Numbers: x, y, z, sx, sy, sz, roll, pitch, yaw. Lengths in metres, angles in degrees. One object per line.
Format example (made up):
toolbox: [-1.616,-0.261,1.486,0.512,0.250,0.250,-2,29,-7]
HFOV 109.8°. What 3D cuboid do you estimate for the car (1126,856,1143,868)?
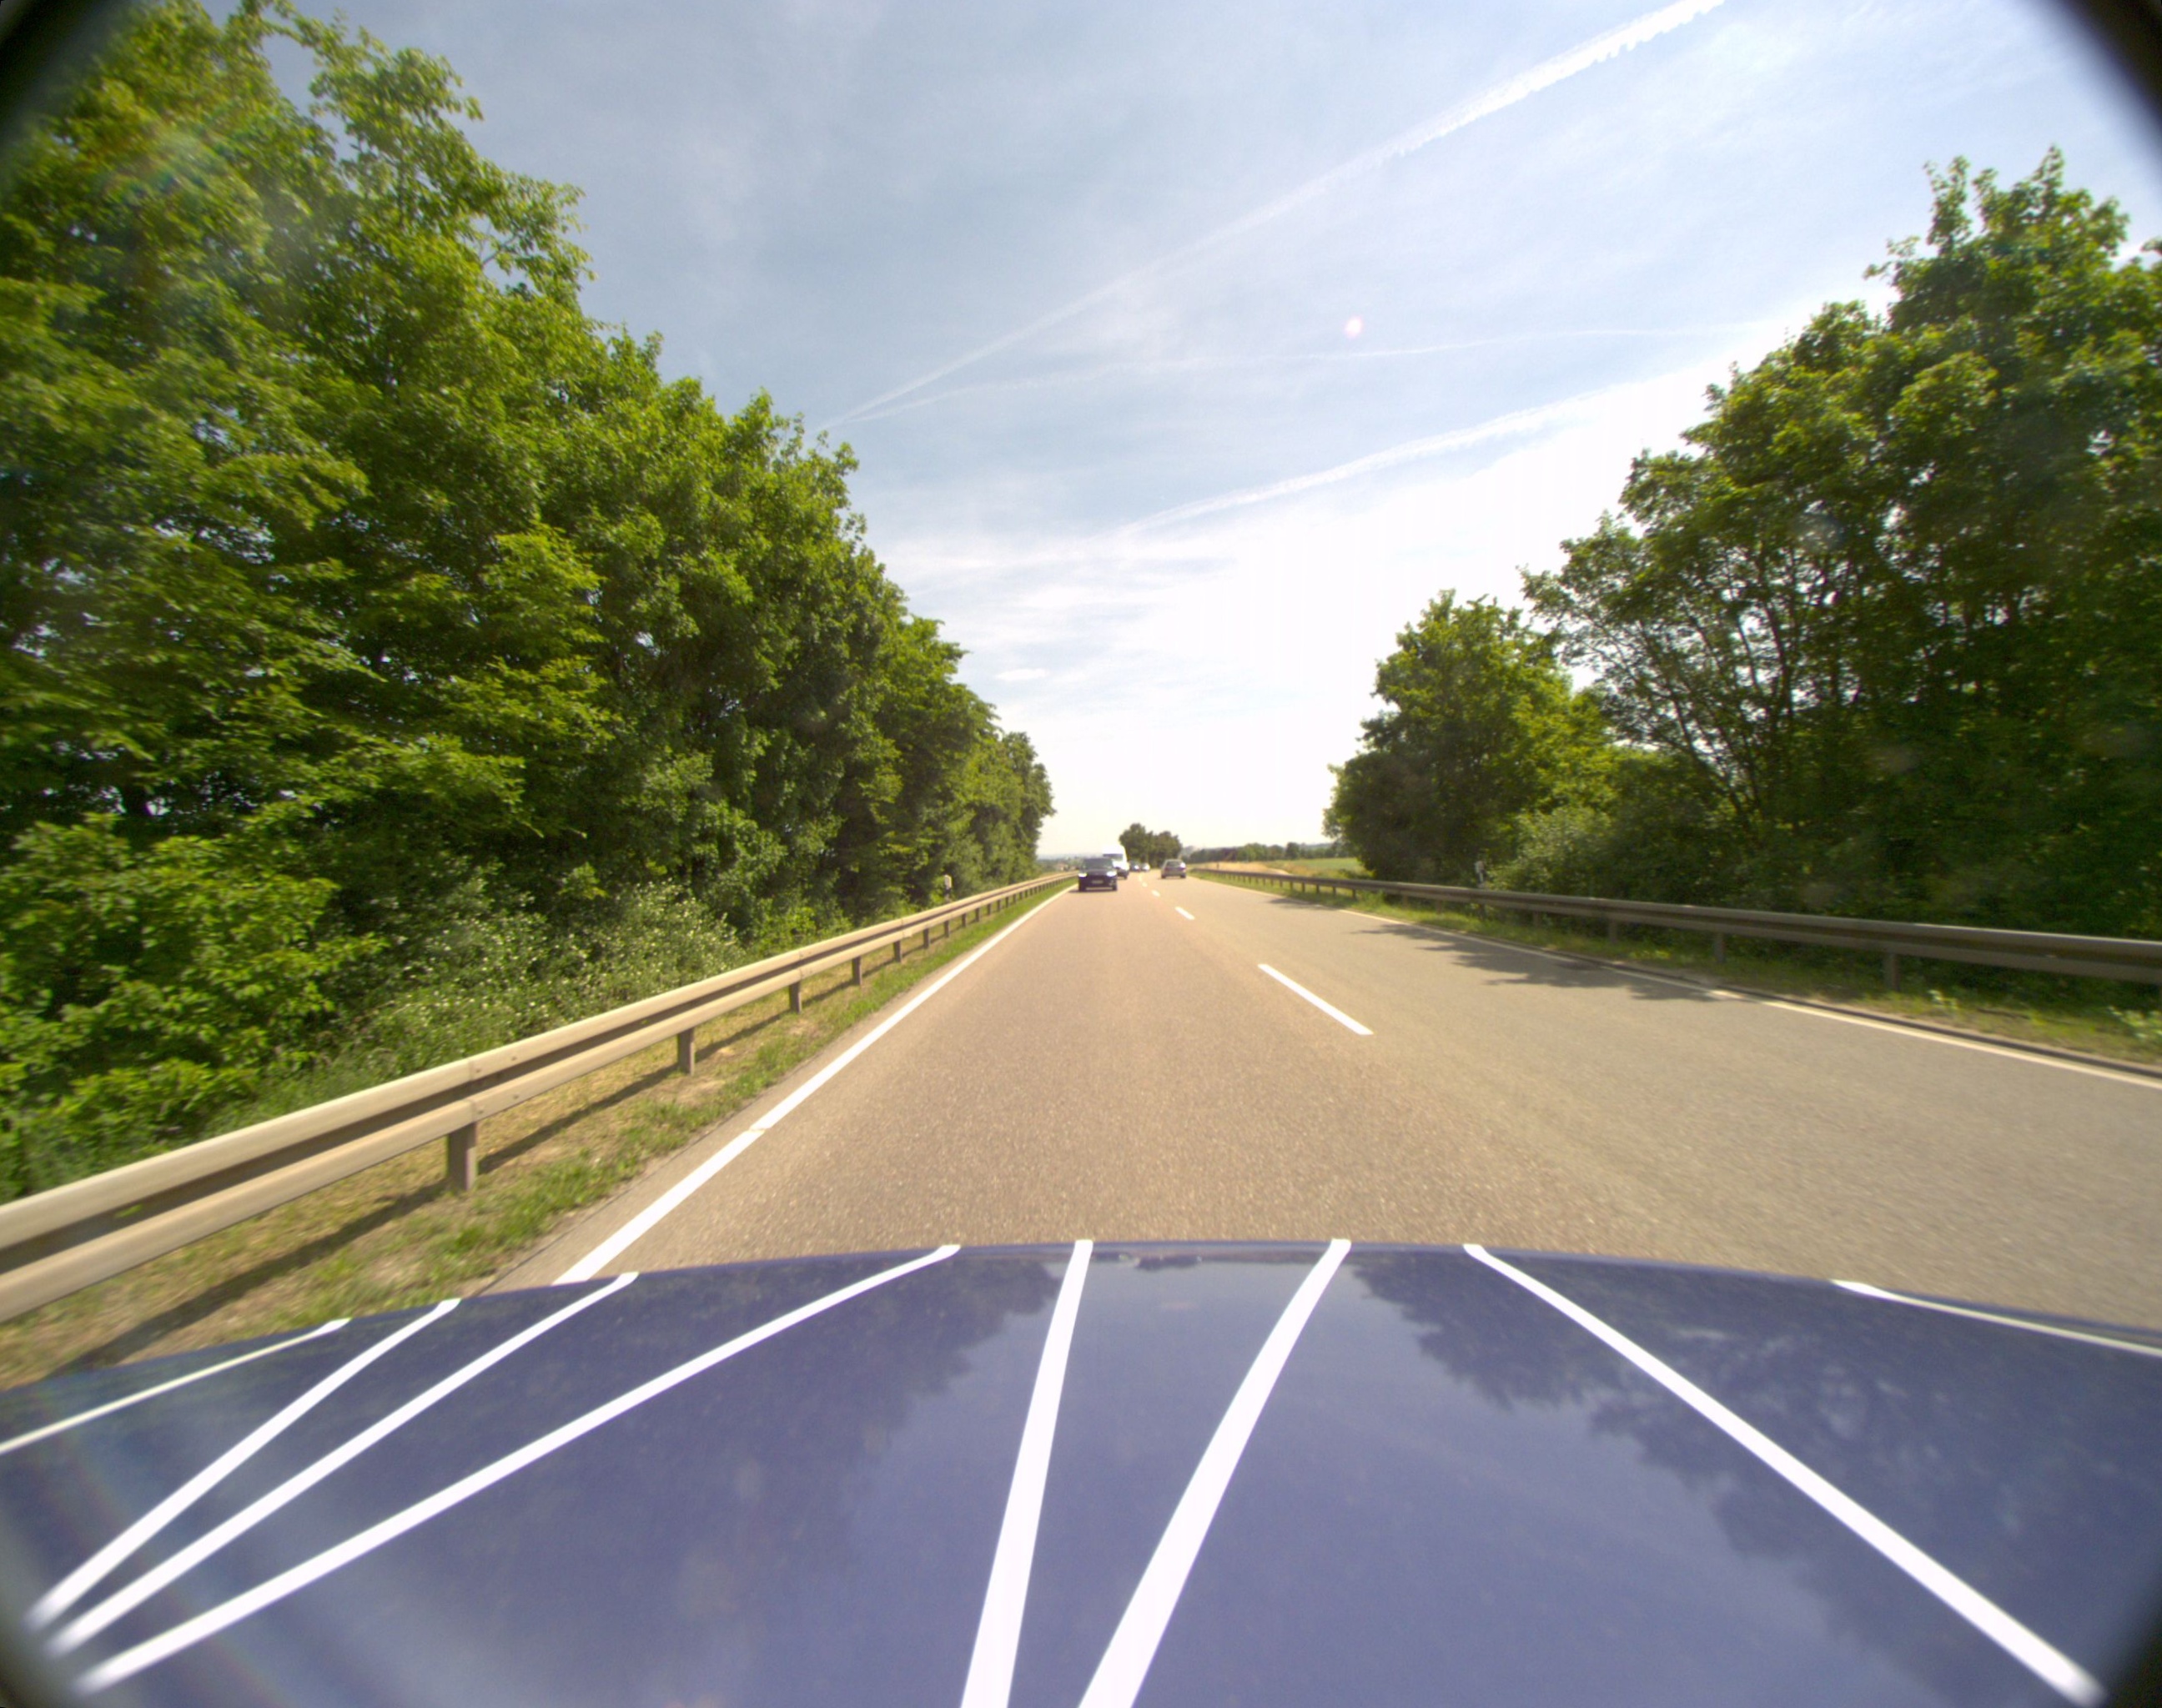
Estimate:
car: [7.774,1.089,110.420,2.037,1.641,4.747,-1,0,9]

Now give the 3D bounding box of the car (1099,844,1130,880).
car: [2.658,0.599,60.255,2.225,2.617,5.754,-1,0,3]

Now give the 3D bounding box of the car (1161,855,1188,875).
car: [7.387,0.842,60.331,1.748,1.458,5.128,-1,0,3]

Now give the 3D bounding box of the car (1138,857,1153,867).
car: [10.823,1.294,127.796,2.037,1.641,4.748,-1,0,11]

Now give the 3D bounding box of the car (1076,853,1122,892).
car: [0.902,0.854,37.864,2.039,1.691,5.513,-3,0,2]
